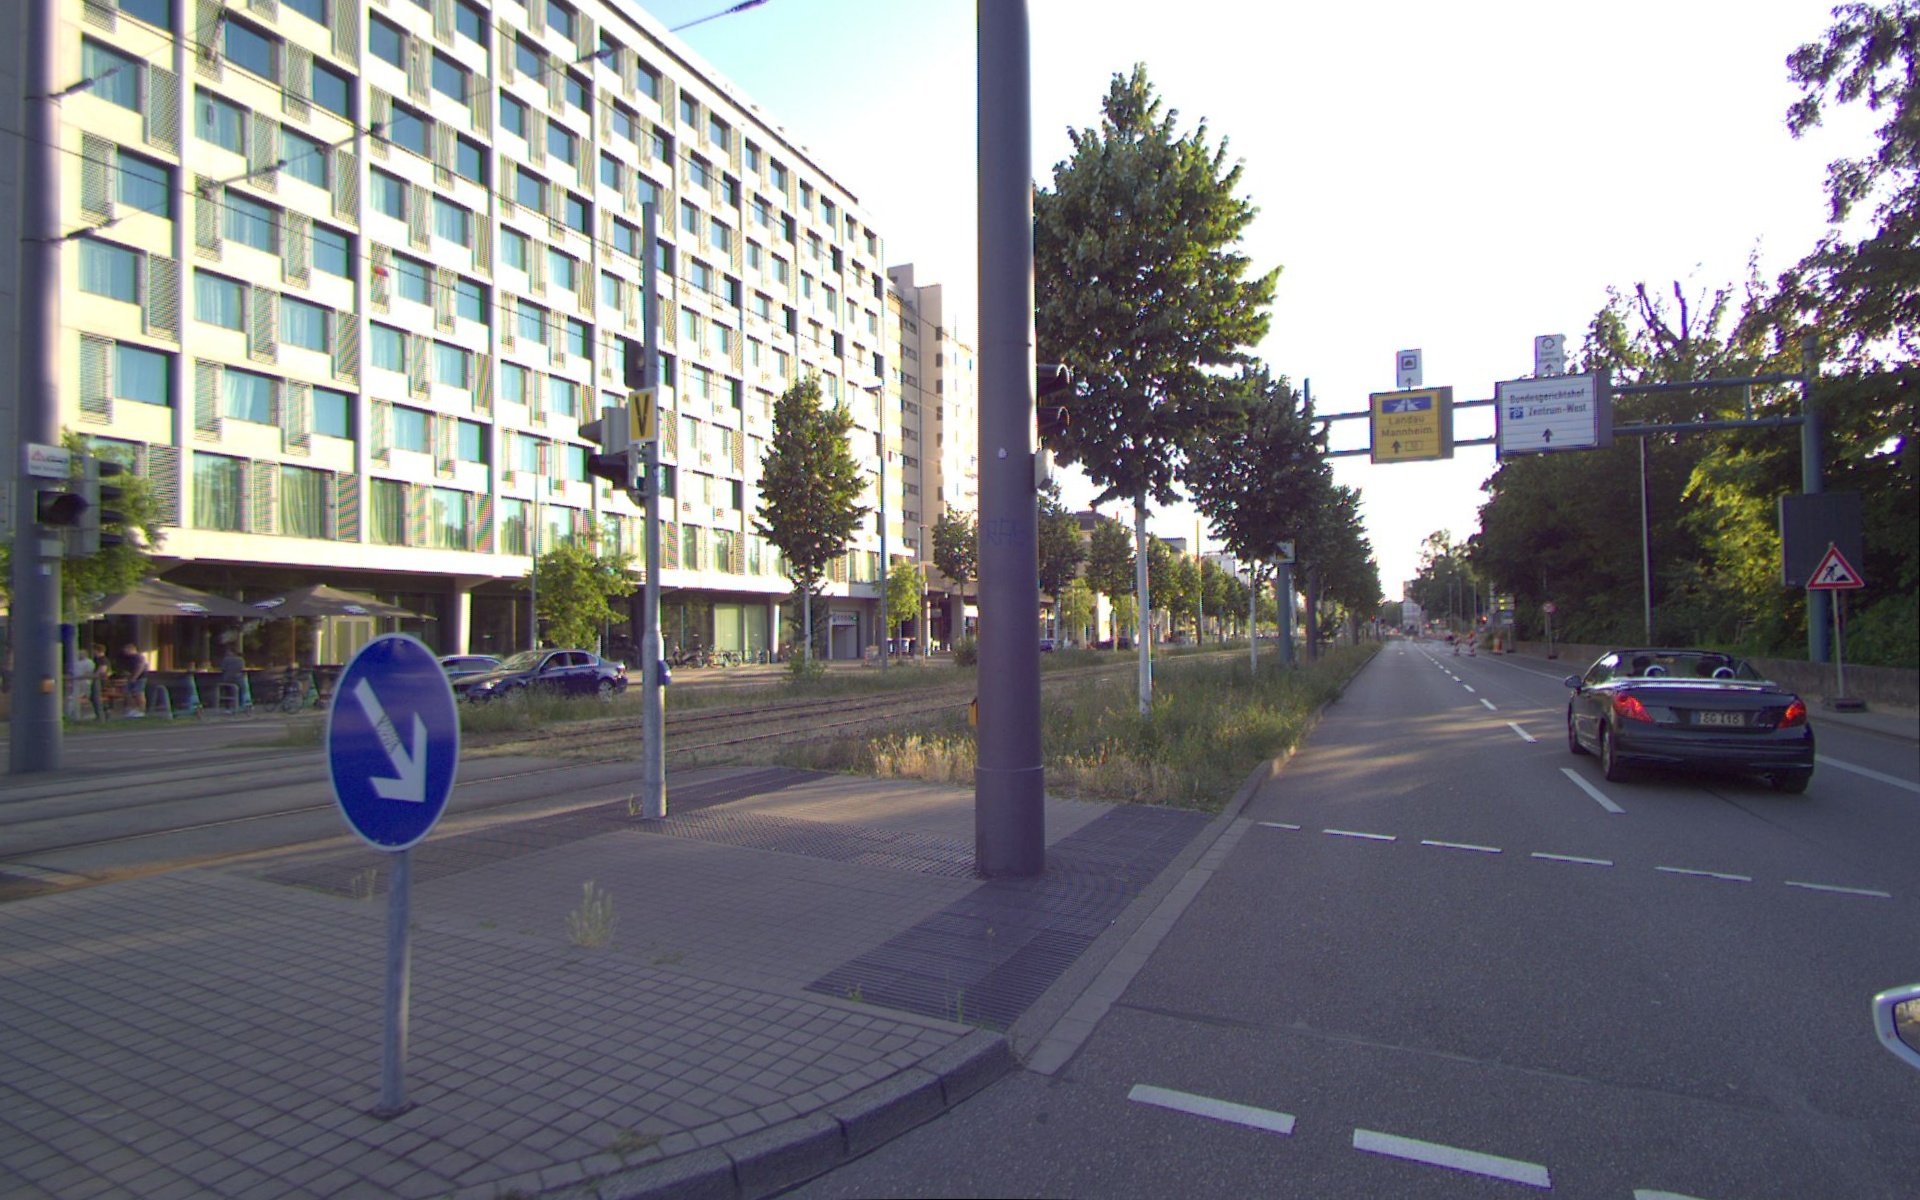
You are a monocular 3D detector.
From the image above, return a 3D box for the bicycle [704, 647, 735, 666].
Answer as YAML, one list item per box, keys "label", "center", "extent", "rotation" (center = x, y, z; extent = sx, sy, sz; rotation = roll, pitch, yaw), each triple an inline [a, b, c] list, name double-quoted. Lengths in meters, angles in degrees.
- label: "bicycle"
  center: [-13.437, 3.179, 56.161]
  extent: [1.714, 1.033, 0.421]
  rotation: [-1, -2, 20]

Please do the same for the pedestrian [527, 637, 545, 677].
- label: "pedestrian"
  center: [-18.183, 2.449, 43.039]
  extent: [0.422, 1.678, 0.516]
  rotation: [1, -1, 24]

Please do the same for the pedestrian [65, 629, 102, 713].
- label: "pedestrian"
  center: [-21.667, 1.754, 24.834]
  extent: [0.544, 2.040, 0.499]
  rotation: [0, -2, -25]

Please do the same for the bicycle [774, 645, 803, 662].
- label: "bicycle"
  center: [-10.642, 3.319, 62.258]
  extent: [1.758, 1.033, 0.421]
  rotation: [-1, -2, 20]

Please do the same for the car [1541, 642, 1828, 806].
- label: "car"
  center: [7.878, 1.239, 11.350]
  extent: [1.691, 1.468, 3.900]
  rotation: [-2, -2, 22]

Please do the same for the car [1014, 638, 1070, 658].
- label: "car"
  center: [6.826, 4.003, 84.017]
  extent: [4.216, 1.611, 2.002]
  rotation: [0, -2, -17]

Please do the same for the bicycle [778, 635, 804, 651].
- label: "bicycle"
  center: [-11.167, 2.836, 66.318]
  extent: [1.758, 1.033, 0.421]
  rotation: [-1, -2, 20]

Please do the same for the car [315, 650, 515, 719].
- label: "car"
  center: [-13.610, 2.075, 25.368]
  extent: [1.855, 1.458, 4.223]
  rotation: [-4, -3, 22]

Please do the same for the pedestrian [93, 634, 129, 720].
- label: "pedestrian"
  center: [-20.678, 1.865, 24.476]
  extent: [0.544, 2.040, 0.499]
  rotation: [0, -2, -25]

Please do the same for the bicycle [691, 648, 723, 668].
- label: "bicycle"
  center: [-13.816, 3.165, 54.885]
  extent: [1.758, 1.033, 0.421]
  rotation: [-1, -2, 20]

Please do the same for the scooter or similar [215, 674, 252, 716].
- label: "scooter or similar"
  center: [-18.832, 2.451, 26.030]
  extent: [0.991, 1.047, 0.291]
  rotation: [-1, -3, 24]

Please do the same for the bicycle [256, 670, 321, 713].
- label: "bicycle"
  center: [-18.322, 2.479, 27.417]
  extent: [1.877, 1.073, 0.443]
  rotation: [0, -1, 20]

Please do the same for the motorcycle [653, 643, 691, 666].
- label: "motorcycle"
  center: [-15.122, 2.868, 52.782]
  extent: [1.859, 1.187, 0.516]
  rotation: [0, -2, 8]

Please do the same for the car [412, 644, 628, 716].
- label: "car"
  center: [-10.609, 1.894, 24.649]
  extent: [1.983, 1.459, 4.799]
  rotation: [-3, -3, 23]

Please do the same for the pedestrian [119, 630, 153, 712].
- label: "pedestrian"
  center: [-20.928, 1.796, 25.524]
  extent: [0.544, 2.040, 0.499]
  rotation: [0, -2, -25]

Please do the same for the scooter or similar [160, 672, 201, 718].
- label: "scooter or similar"
  center: [-19.481, 2.367, 25.107]
  extent: [0.956, 1.099, 0.338]
  rotation: [1, -3, 24]

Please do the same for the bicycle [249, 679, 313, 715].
- label: "bicycle"
  center: [-18.351, 2.605, 27.144]
  extent: [1.834, 0.882, 0.443]
  rotation: [0, -1, 20]

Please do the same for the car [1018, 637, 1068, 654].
- label: "car"
  center: [7.359, 4.057, 89.286]
  extent: [4.063, 1.455, 1.819]
  rotation: [1, -1, -16]
